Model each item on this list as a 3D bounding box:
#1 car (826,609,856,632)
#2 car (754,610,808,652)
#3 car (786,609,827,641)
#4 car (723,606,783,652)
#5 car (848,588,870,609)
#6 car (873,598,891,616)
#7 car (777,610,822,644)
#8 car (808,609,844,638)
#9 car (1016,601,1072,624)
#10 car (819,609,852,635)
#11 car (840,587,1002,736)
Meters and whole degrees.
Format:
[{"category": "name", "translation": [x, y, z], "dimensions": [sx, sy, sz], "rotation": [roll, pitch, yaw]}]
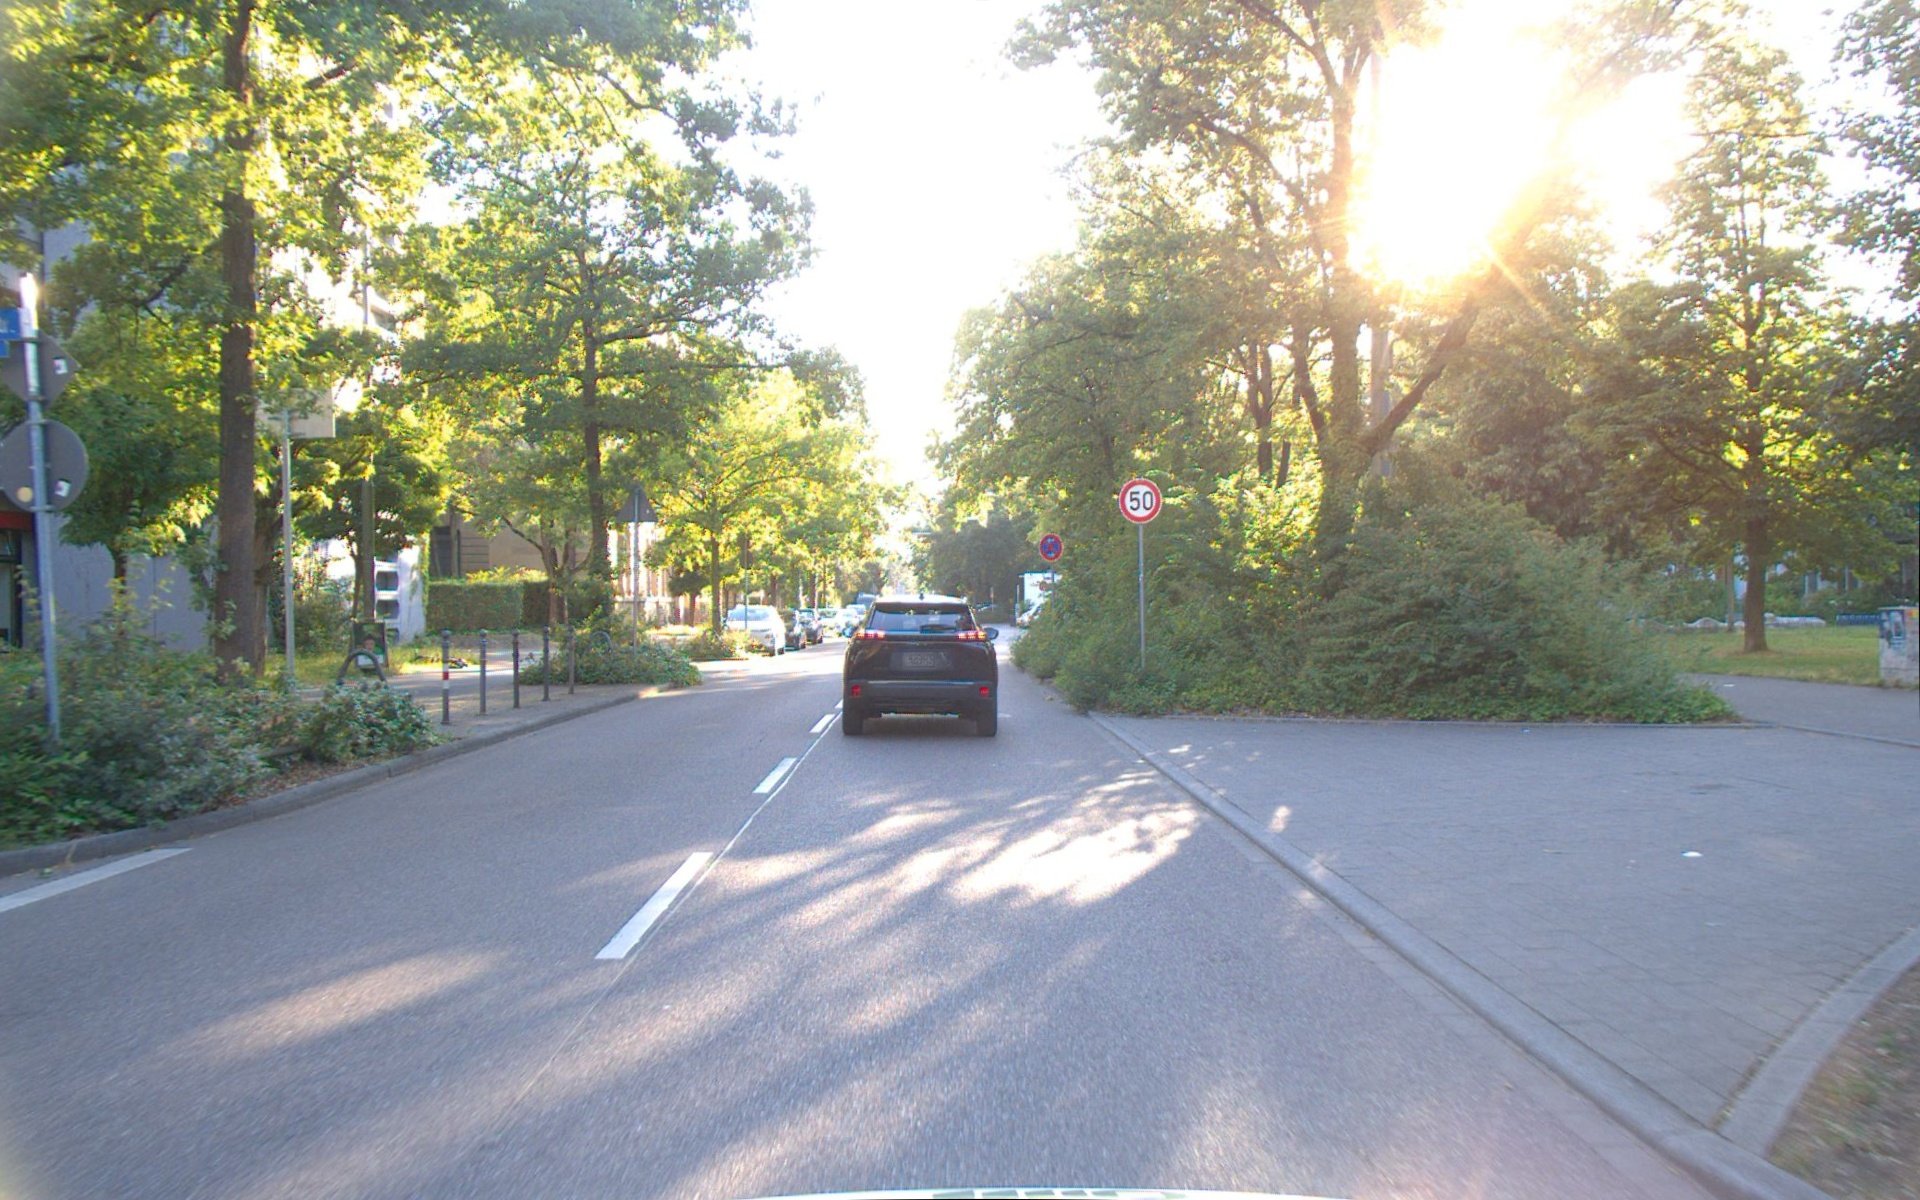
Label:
[{"category": "car", "translation": [-7.392, 1.269, 102.531], "dimensions": [1.775, 1.378, 3.996], "rotation": [-1, 0, -5]}, {"category": "car", "translation": [-6.326, 1.081, 58.653], "dimensions": [1.775, 1.378, 3.996], "rotation": [-1, 0, -5]}, {"category": "car", "translation": [-6.992, 1.142, 75.688], "dimensions": [1.775, 1.378, 3.996], "rotation": [-1, 0, -5]}, {"category": "car", "translation": [-6.526, 0.891, 52.405], "dimensions": [1.775, 1.378, 3.995], "rotation": [-1, 0, -6]}, {"category": "car", "translation": [-9.574, -0.162, 157.189], "dimensions": [1.868, 1.900, 3.948], "rotation": [-1, 0, -1]}, {"category": "car", "translation": [-8.325, 0.730, 176.766], "dimensions": [1.868, 1.900, 3.948], "rotation": [-1, 0, -1]}, {"category": "car", "translation": [-6.768, 1.121, 69.974], "dimensions": [1.775, 1.378, 3.996], "rotation": [-1, 0, -5]}, {"category": "car", "translation": [-6.871, 1.198, 84.934], "dimensions": [1.775, 1.378, 3.996], "rotation": [-1, 0, -5]}, {"category": "car", "translation": [6.223, 0.948, 122.264], "dimensions": [3.909, 1.610, 1.814], "rotation": [-1, 0, -5]}, {"category": "car", "translation": [-6.948, 1.235, 92.376], "dimensions": [1.775, 1.378, 3.975], "rotation": [-1, 0, -5]}, {"category": "car", "translation": [-0.456, 0.658, 19.428], "dimensions": [1.732, 1.596, 3.379], "rotation": [0, 0, -2]}]
